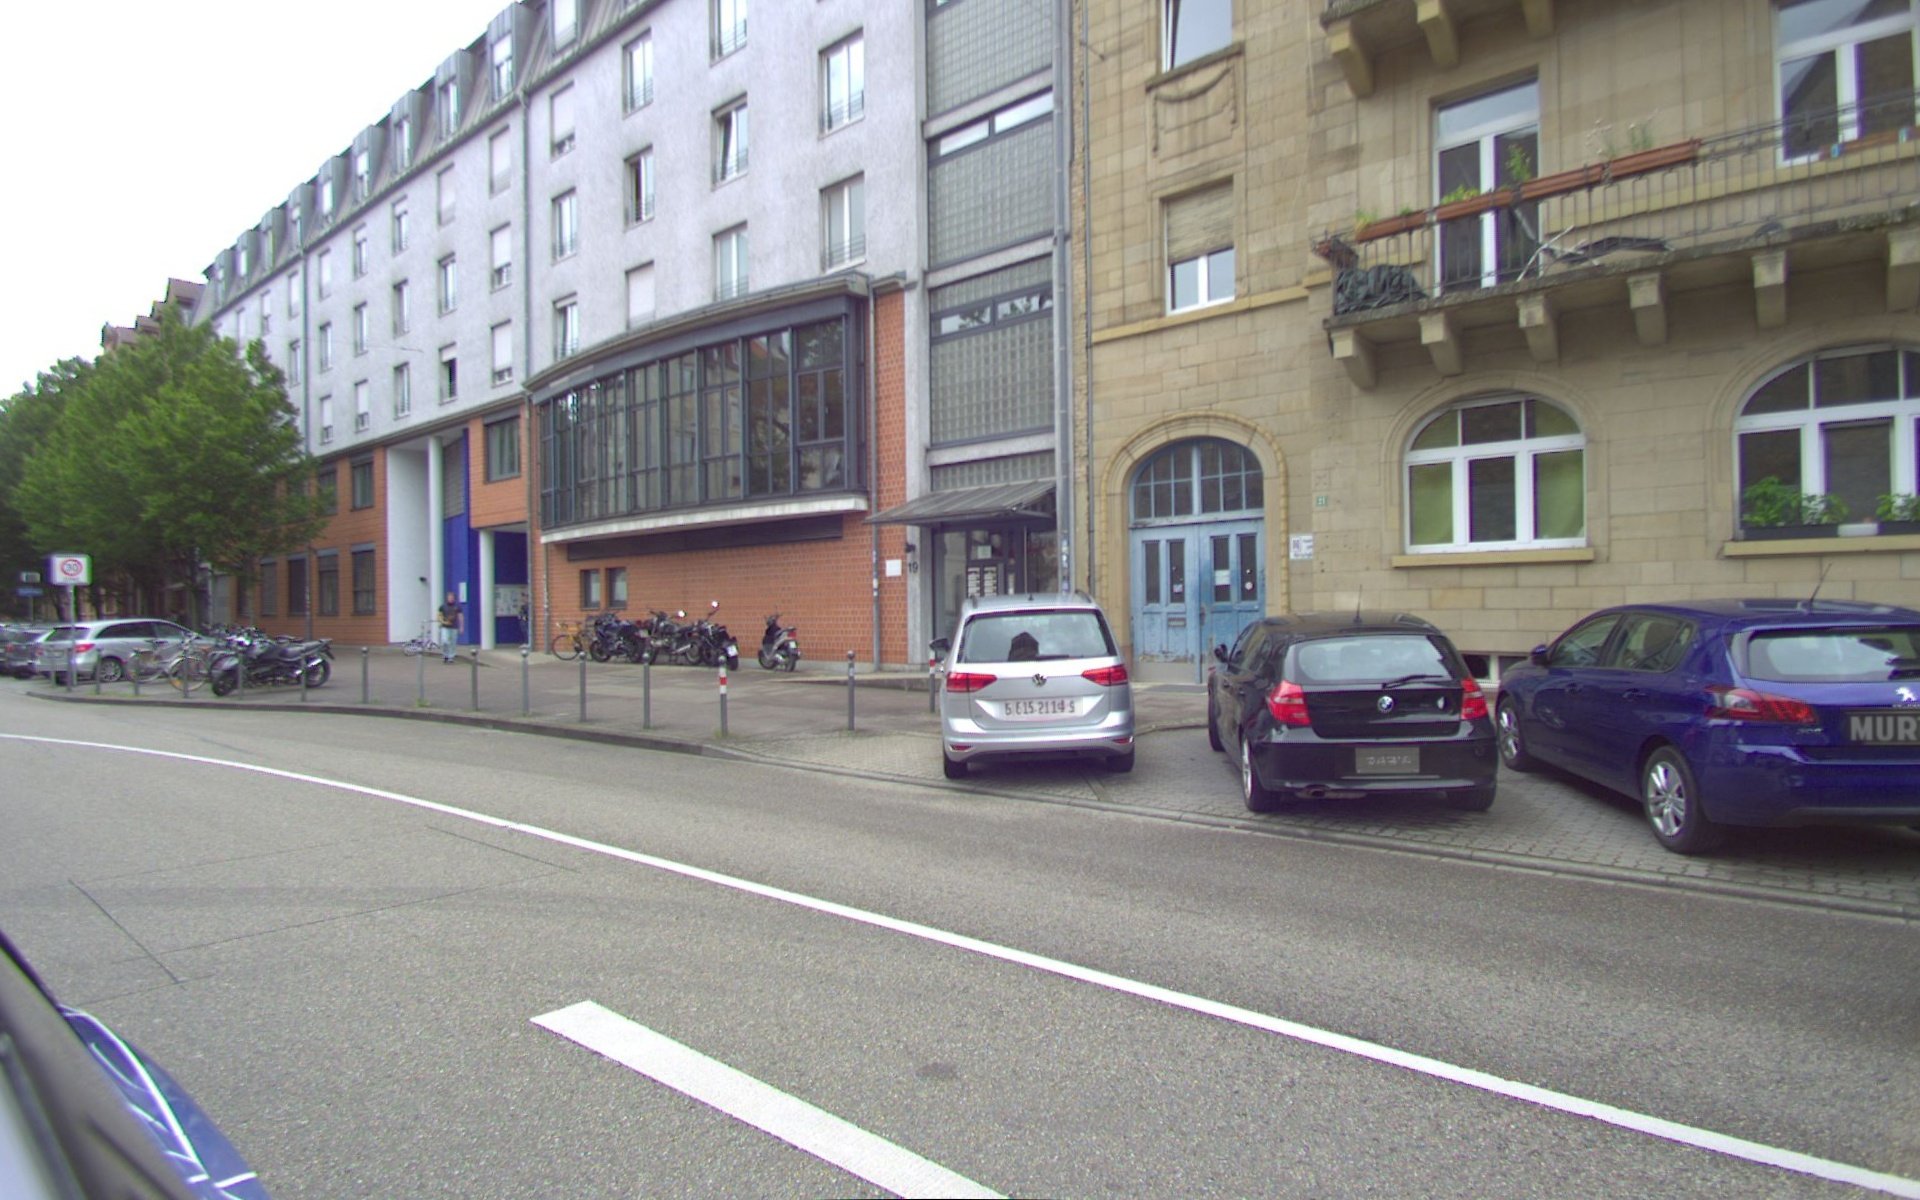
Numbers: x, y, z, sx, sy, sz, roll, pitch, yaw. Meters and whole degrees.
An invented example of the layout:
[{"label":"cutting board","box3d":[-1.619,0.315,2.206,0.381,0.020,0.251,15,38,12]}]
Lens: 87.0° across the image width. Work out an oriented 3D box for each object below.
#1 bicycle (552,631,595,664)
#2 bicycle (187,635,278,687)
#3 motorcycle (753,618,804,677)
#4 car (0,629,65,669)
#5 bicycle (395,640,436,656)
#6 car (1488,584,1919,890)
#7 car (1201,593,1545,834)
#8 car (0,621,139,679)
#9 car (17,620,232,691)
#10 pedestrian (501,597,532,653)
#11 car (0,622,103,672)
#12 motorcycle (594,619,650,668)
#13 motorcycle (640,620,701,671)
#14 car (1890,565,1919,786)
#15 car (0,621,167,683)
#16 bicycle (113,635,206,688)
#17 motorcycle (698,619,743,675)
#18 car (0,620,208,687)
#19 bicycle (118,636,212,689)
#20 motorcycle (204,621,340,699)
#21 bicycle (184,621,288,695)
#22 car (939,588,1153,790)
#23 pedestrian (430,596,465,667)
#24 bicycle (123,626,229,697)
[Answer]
[{"label":"bicycle","box3d":[-9.816,1.199,25.704,1.581,0.793,0.332,-2,-1,42]},{"label":"bicycle","box3d":[-16.603,1.375,23.132,0.416,1.082,1.610,-2,1,39]},{"label":"motorcycle","box3d":[-3.594,0.910,19.934,0.438,1.106,1.768,0,-1,-29]},{"label":"car","box3d":[-37.719,1.910,39.408,1.723,1.508,3.977,-1,-1,18]},{"label":"bicycle","box3d":[-16.665,1.475,30.969,0.527,0.440,0.997,1,0,42]},{"label":"car","box3d":[5.239,0.681,6.918,1.804,1.456,3.737,-2,1,10]},{"label":"car","box3d":[3.108,0.736,8.496,1.713,1.449,3.990,-2,1,9]},{"label":"car","box3d":[-28.168,1.492,31.242,1.983,1.641,3.977,-1,-1,18]},{"label":"car","box3d":[-21.293,1.360,25.991,1.758,1.641,3.977,-1,-1,18]},{"label":"pedestrian","box3d":[-13.527,0.756,30.856,0.622,1.662,0.677,-1,0,42]},{"label":"car","box3d":[-32.650,1.621,35.142,1.983,1.641,3.977,-1,-1,18]},{"label":"motorcycle","box3d":[-7.990,1.018,23.870,1.762,1.106,0.440,-2,-1,42]},{"label":"motorcycle","box3d":[-6.465,0.999,22.566,1.762,1.106,0.440,-2,-1,42]},{"label":"car","box3d":[7.557,0.548,5.333,1.681,1.565,3.997,-2,1,3]},{"label":"car","box3d":[-25.947,1.452,29.582,1.983,1.641,3.977,-1,-1,18]},{"label":"bicycle","box3d":[-18.464,1.402,23.373,0.416,1.082,1.610,-2,1,39]},{"label":"motorcycle","box3d":[-4.948,0.947,20.832,0.438,1.106,1.768,0,-1,-29]},{"label":"car","box3d":[-23.303,1.406,27.731,1.983,1.641,3.977,-1,-1,18]},{"label":"bicycle","box3d":[-18.064,1.398,23.015,0.416,1.082,1.610,-2,1,39]},{"label":"motorcycle","box3d":[-13.462,1.135,19.856,0.599,1.363,2.096,-2,1,41]},{"label":"bicycle","box3d":[-14.555,1.146,20.378,0.416,1.363,1.610,-2,1,39]},{"label":"car","box3d":[0.748,0.712,10.354,1.710,1.565,3.999,-2,1,1]},{"label":"pedestrian","box3d":[-13.366,0.820,26.413,0.641,1.837,0.613,-2,-1,41]},{"label":"bicycle","box3d":[-15.654,1.199,20.240,0.416,1.299,1.610,-2,1,39]}]
